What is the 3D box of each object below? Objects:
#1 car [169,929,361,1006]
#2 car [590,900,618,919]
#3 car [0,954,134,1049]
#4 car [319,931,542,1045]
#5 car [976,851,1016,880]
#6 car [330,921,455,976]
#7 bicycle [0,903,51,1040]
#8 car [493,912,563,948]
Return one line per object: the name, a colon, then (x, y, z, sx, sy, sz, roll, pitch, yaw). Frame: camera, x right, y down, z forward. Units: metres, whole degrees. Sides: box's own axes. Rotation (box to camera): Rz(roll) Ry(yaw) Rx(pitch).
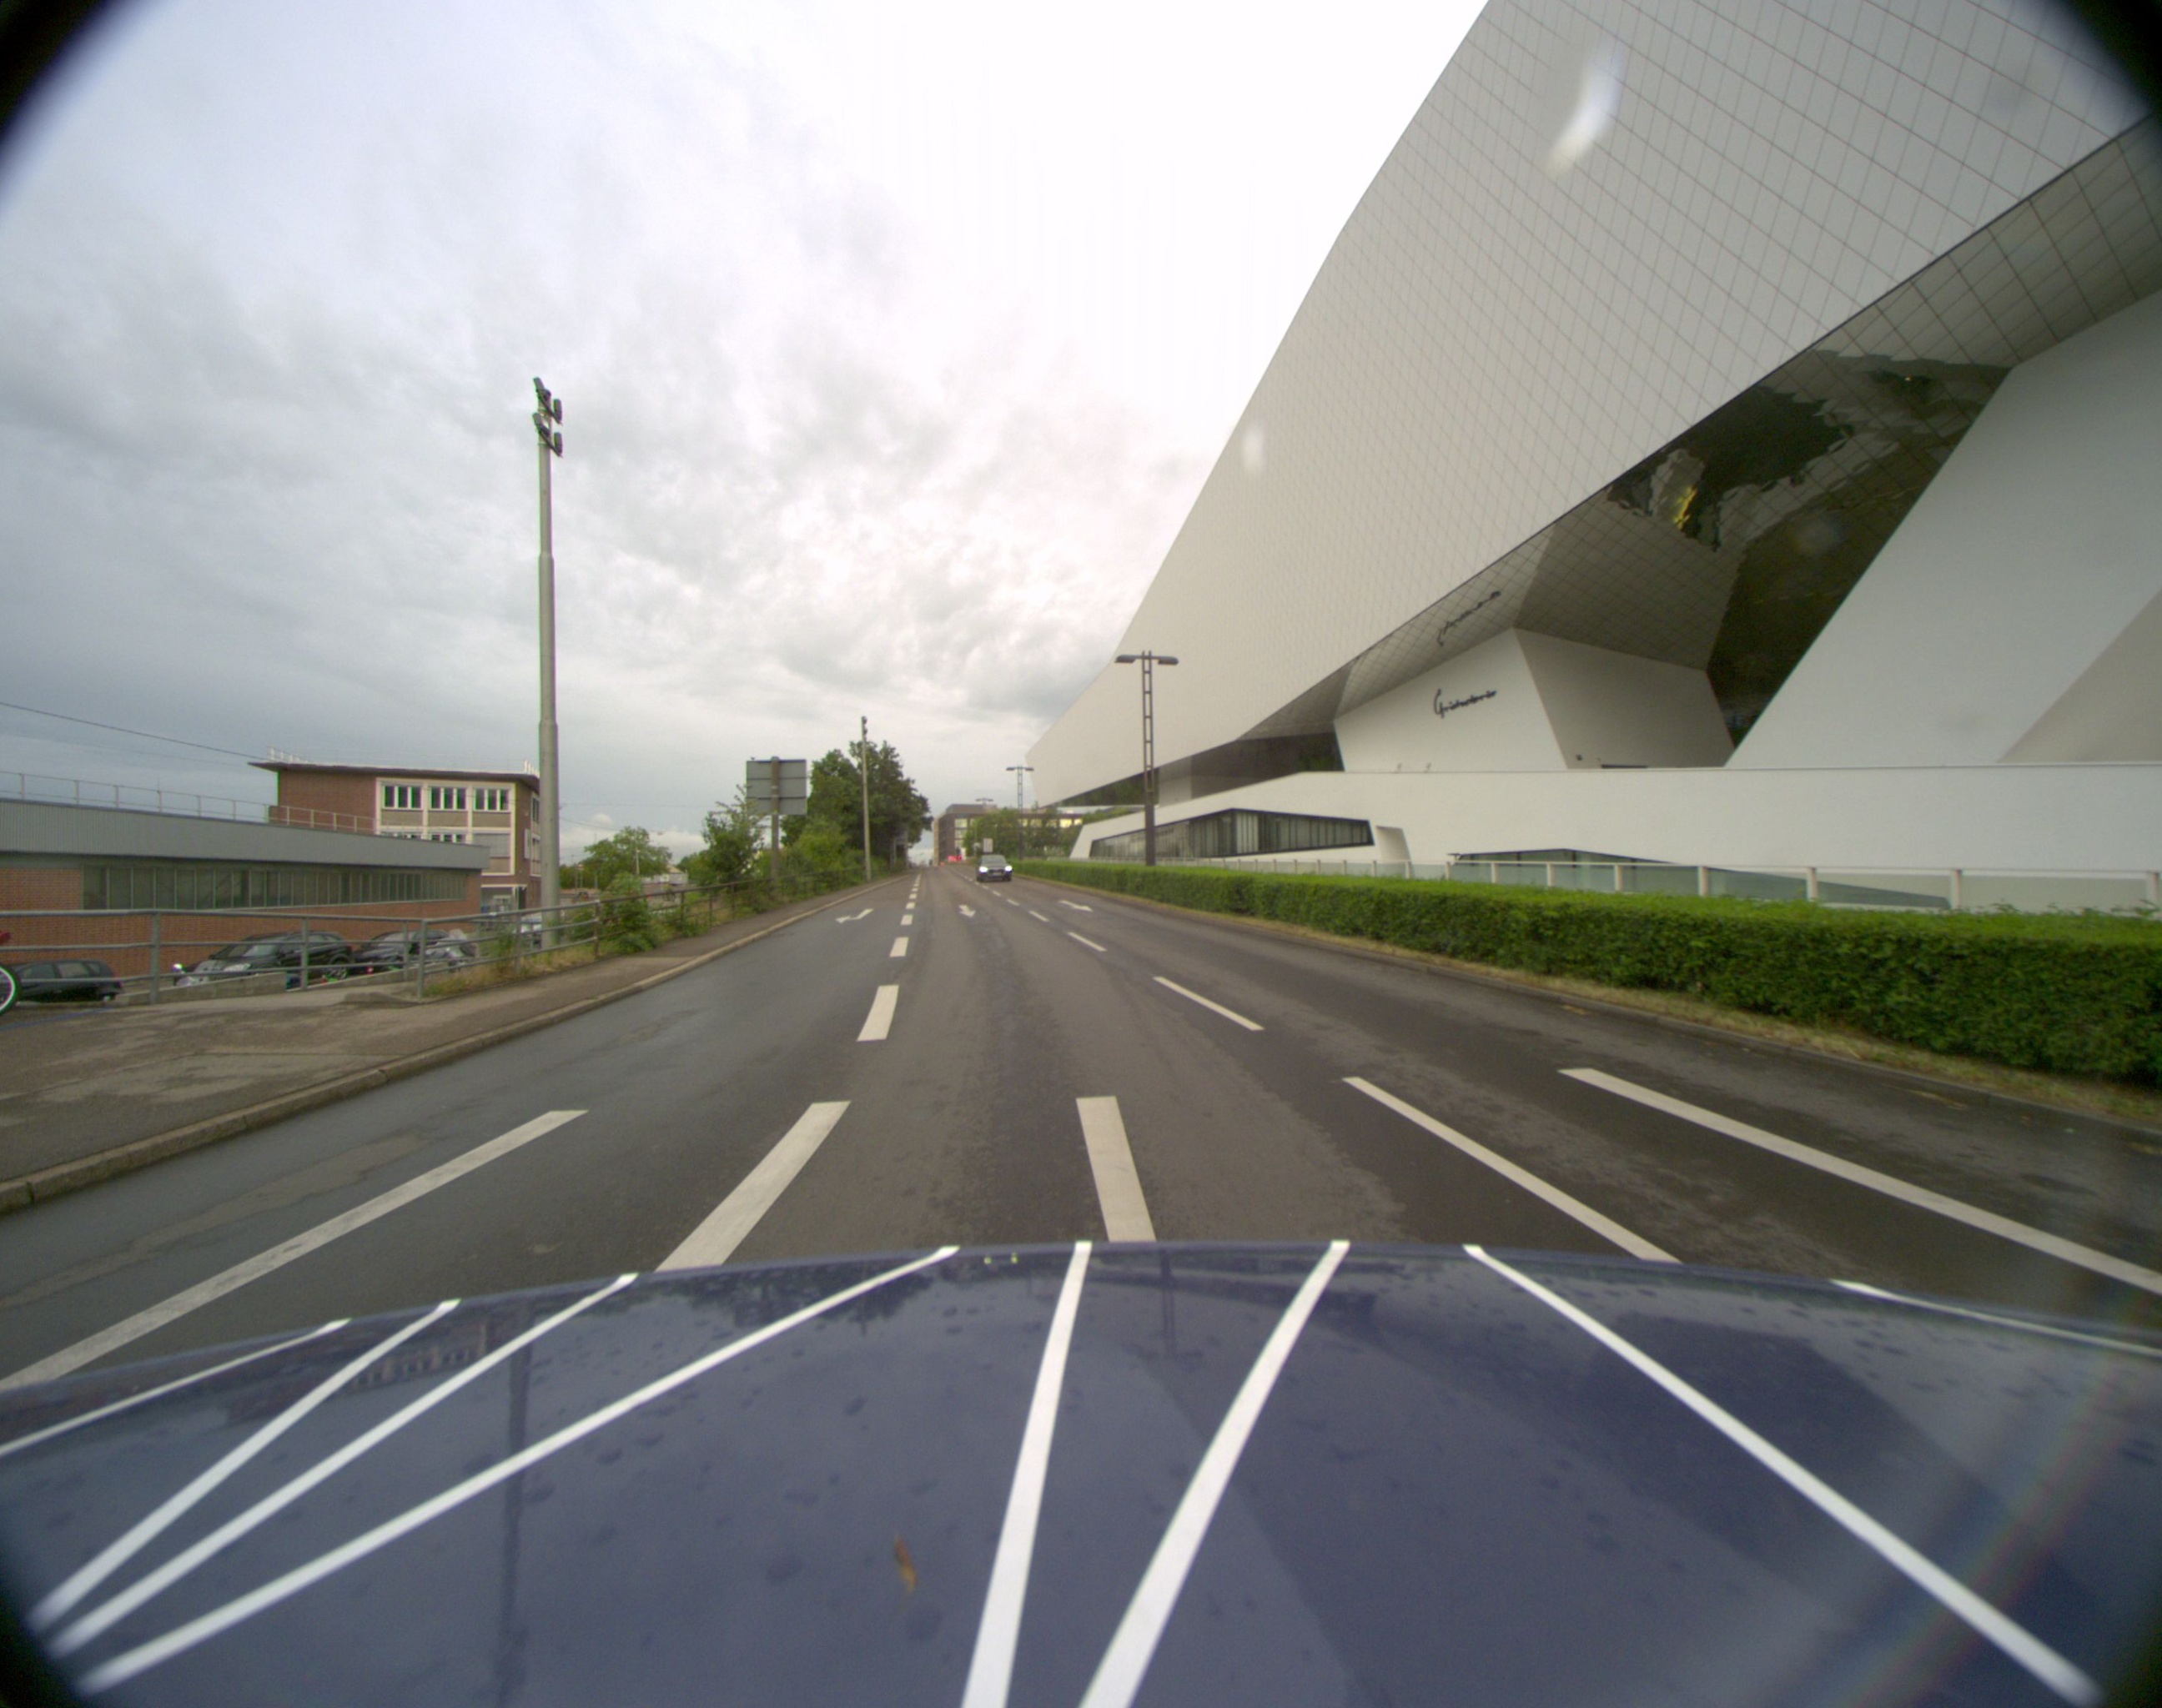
car: (-24.311, 3.314, 22.904, 1.638, 1.621, 4.425, -1, 0, -12)
car: (-41.990, 4.840, 66.927, 1.670, 1.387, 3.992, -2, 0, -27)
car: (-23.318, 3.235, 16.231, 1.704, 1.618, 3.927, -1, 0, -11)
car: (-12.793, 2.544, 15.289, 1.704, 1.546, 3.853, -1, 0, -12)
car: (-5.096, 0.647, 45.188, 1.843, 1.574, 4.284, -1, 0, -13)
car: (-25.597, 3.461, 28.453, 1.704, 1.546, 3.853, -1, 0, -12)
bicycle: (-10.553, 1.062, 6.536, 1.935, 1.171, 0.598, -1, 1, -26)
car: (-30.086, 4.105, 41.488, 1.704, 1.546, 3.852, -1, 0, -14)
